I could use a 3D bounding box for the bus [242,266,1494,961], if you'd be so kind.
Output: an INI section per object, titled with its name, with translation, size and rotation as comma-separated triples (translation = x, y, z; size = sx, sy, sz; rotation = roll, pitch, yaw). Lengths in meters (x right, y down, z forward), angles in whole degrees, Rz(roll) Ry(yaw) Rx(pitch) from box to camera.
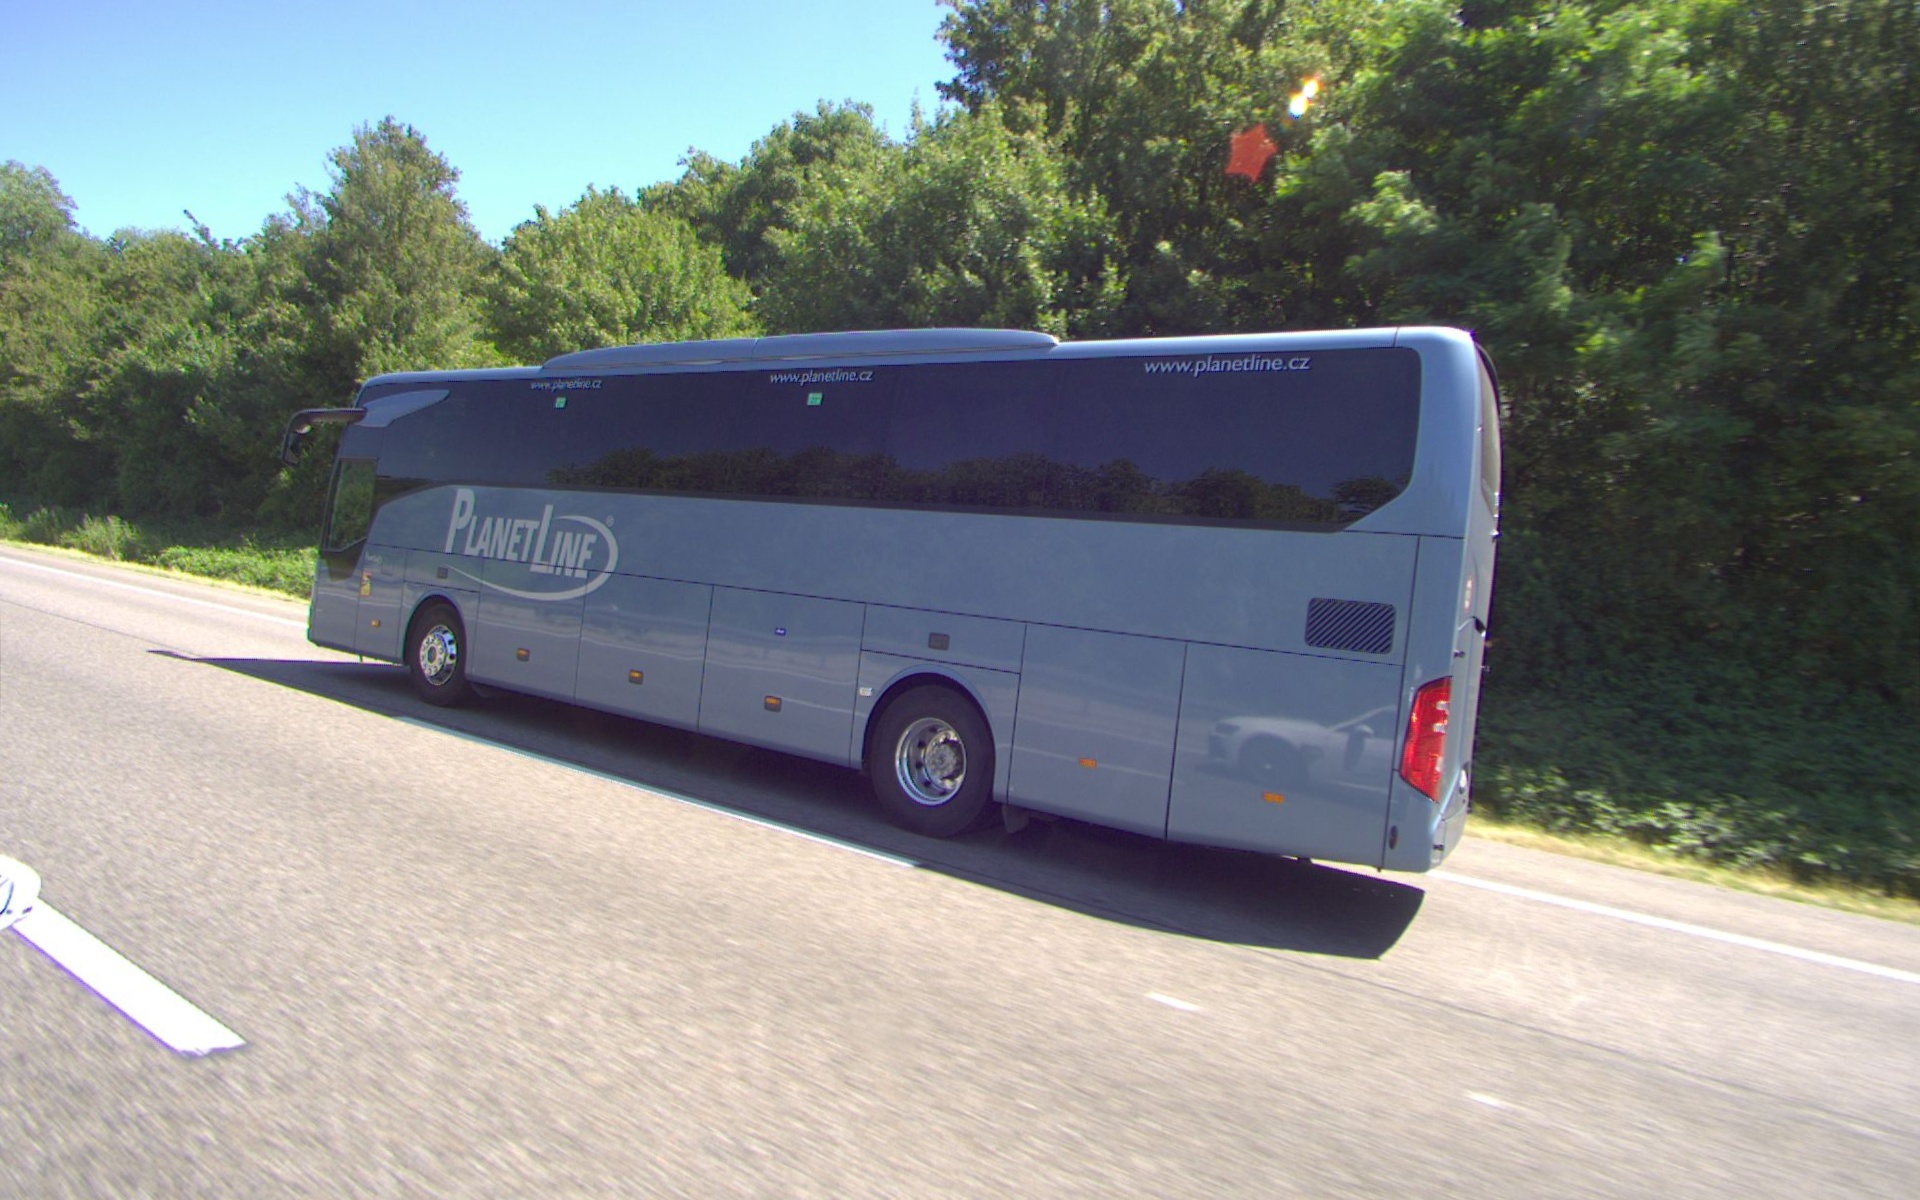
[bus]
translation = -2.070, -0.380, 9.586
size = 12.265, 3.639, 2.807
rotation = 6, -1, 31
